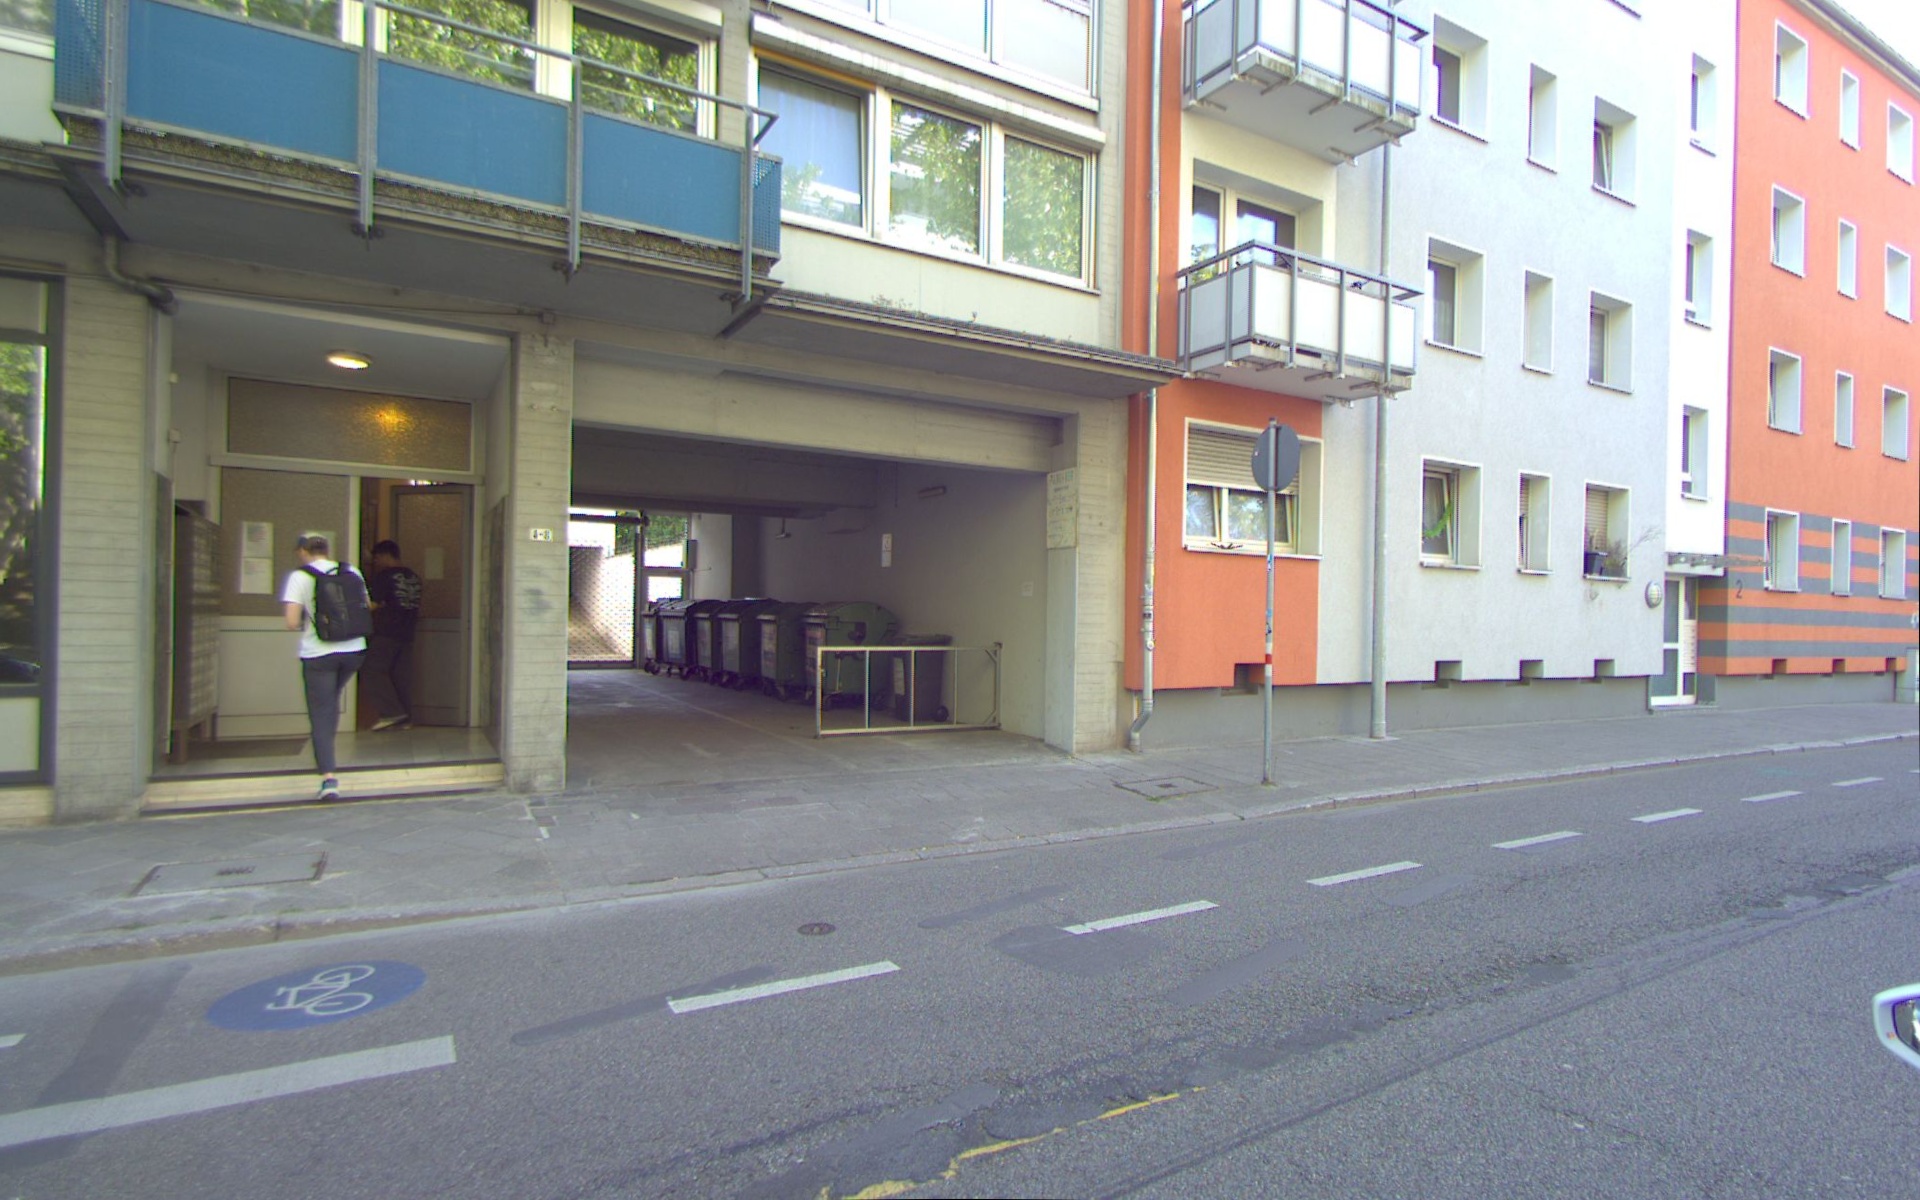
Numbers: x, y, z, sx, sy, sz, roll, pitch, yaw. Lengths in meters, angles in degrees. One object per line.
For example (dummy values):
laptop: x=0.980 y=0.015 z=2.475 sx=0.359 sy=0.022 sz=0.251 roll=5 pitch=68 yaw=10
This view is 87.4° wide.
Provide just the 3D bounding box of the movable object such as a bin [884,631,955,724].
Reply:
movable object such as a bin: x=-0.507 y=0.939 z=12.454 sx=0.687 sy=1.094 sz=0.579 roll=1 pitch=0 yaw=-30

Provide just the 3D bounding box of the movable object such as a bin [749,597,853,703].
movable object such as a bin: x=-2.410 y=0.729 z=15.151 sx=1.167 sy=1.503 sz=1.252 roll=1 pitch=0 yaw=-30

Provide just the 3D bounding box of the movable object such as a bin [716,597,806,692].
movable object such as a bin: x=-3.307 y=0.721 z=16.636 sx=1.167 sy=1.503 sz=1.073 roll=1 pitch=0 yaw=-30

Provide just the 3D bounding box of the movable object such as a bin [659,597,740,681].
movable object such as a bin: x=-4.867 y=0.707 z=18.702 sx=1.167 sy=1.503 sz=1.215 roll=1 pitch=0 yaw=-30

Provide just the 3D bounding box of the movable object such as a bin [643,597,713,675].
movable object such as a bin: x=-5.611 y=0.699 z=19.970 sx=1.167 sy=1.503 sz=0.819 roll=1 pitch=0 yaw=-30

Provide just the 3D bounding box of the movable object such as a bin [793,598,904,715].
movable object such as a bin: x=-1.545 y=0.738 z=13.782 sx=1.086 sy=1.503 sz=1.251 roll=1 pitch=0 yaw=-30

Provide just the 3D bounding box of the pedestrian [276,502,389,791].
pedestrian: x=-4.295 y=0.287 z=6.874 sx=0.595 sy=1.824 sz=0.871 roll=1 pitch=1 yaw=-34

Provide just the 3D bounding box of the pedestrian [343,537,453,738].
pedestrian: x=-5.089 y=0.327 z=9.119 sx=0.538 sy=1.736 sz=0.661 roll=1 pitch=0 yaw=27

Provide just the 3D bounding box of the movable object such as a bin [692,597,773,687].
movable object such as a bin: x=-4.004 y=0.719 z=17.657 sx=1.080 sy=1.503 sz=1.159 roll=1 pitch=0 yaw=-30
